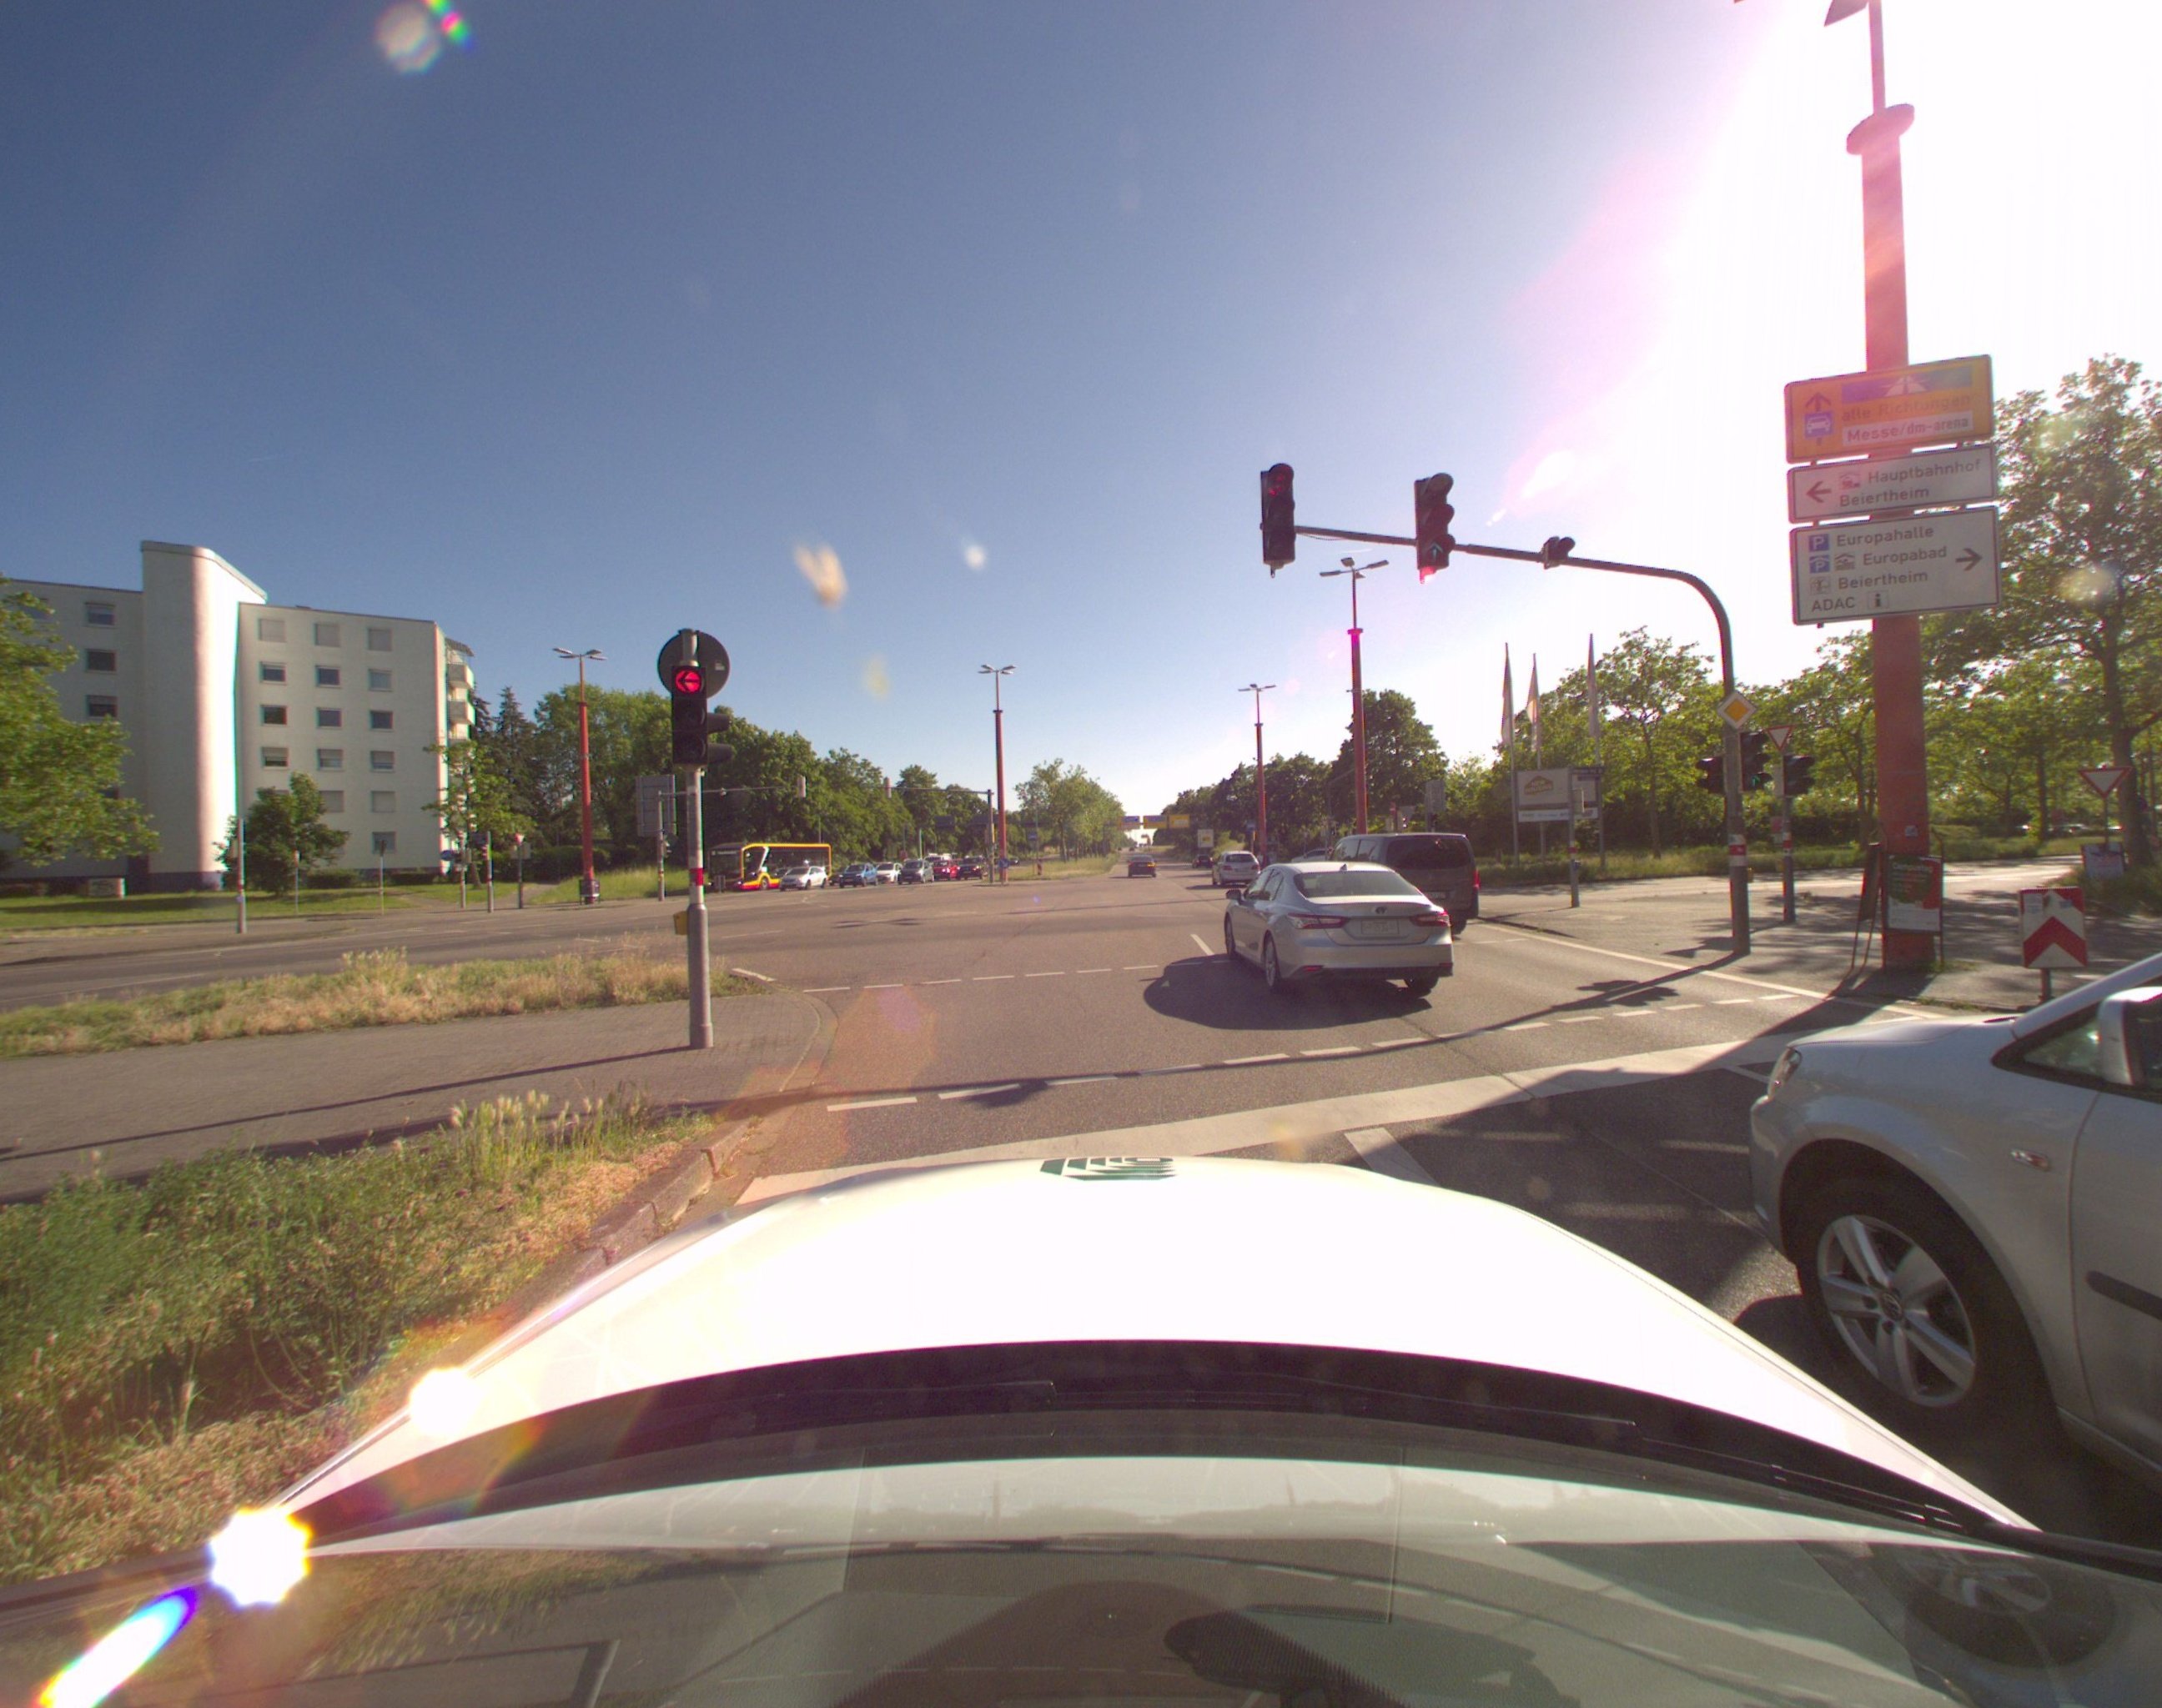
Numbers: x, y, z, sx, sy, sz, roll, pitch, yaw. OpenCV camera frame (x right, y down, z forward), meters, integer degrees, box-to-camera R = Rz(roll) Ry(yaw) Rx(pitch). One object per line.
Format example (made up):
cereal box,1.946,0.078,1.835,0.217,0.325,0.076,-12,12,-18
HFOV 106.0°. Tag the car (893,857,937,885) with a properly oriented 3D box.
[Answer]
car,-10.692,1.075,52.692,1.867,1.550,4.029,-3,0,2

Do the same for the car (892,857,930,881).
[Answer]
car,-13.355,1.139,64.246,1.866,1.784,4.004,-2,0,3

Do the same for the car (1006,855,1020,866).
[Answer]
car,-11.991,1.131,143.072,1.913,1.999,4.605,-2,0,1

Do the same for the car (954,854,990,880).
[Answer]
car,-7.524,0.854,56.698,1.787,1.626,4.144,-3,0,1

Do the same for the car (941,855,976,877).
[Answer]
car,-9.743,0.929,65.016,1.893,1.630,4.003,-1,0,3

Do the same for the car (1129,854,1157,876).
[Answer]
car,4.097,0.718,53.831,1.756,1.441,4.299,0,0,4

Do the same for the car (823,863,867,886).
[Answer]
car,-17.553,1.497,60.675,1.877,1.513,4.003,-3,0,3

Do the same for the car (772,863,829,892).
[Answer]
car,-17.640,1.419,51.412,1.869,1.652,4.222,-3,-1,3

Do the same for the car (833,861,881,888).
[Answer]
car,-14.133,1.281,51.612,1.794,1.515,3.861,-3,0,2

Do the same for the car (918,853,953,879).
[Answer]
car,-12.719,0.995,71.297,1.954,2.155,5.083,-2,0,1

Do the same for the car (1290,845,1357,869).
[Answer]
car,17.587,0.236,59.193,4.243,1.635,1.781,-2,0,41

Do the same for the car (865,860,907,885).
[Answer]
car,-13.770,1.283,57.758,1.895,1.555,4.000,-3,0,0

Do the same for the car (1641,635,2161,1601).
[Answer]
car,2.886,0.482,0.710,1.797,1.821,4.590,-1,-1,3

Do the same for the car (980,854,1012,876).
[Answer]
car,-6.674,0.858,64.162,1.878,1.543,4.002,-3,0,2

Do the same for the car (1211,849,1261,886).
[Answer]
car,7.068,0.611,37.449,1.709,1.608,3.849,0,-1,2

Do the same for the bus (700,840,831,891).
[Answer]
bus,-22.042,0.772,58.127,2.629,3.261,12.569,-1,0,10

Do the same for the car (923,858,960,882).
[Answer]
car,-10.063,1.120,59.019,1.869,1.552,4.000,-5,0,0

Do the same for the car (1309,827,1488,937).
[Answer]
car,6.254,0.486,16.764,1.797,1.852,5.106,-2,0,2

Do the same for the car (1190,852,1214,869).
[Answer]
car,12.617,0.671,85.074,1.758,1.635,4.297,0,-1,-1

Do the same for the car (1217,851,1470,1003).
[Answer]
car,2.999,0.745,10.434,1.798,1.493,4.683,0,0,1
